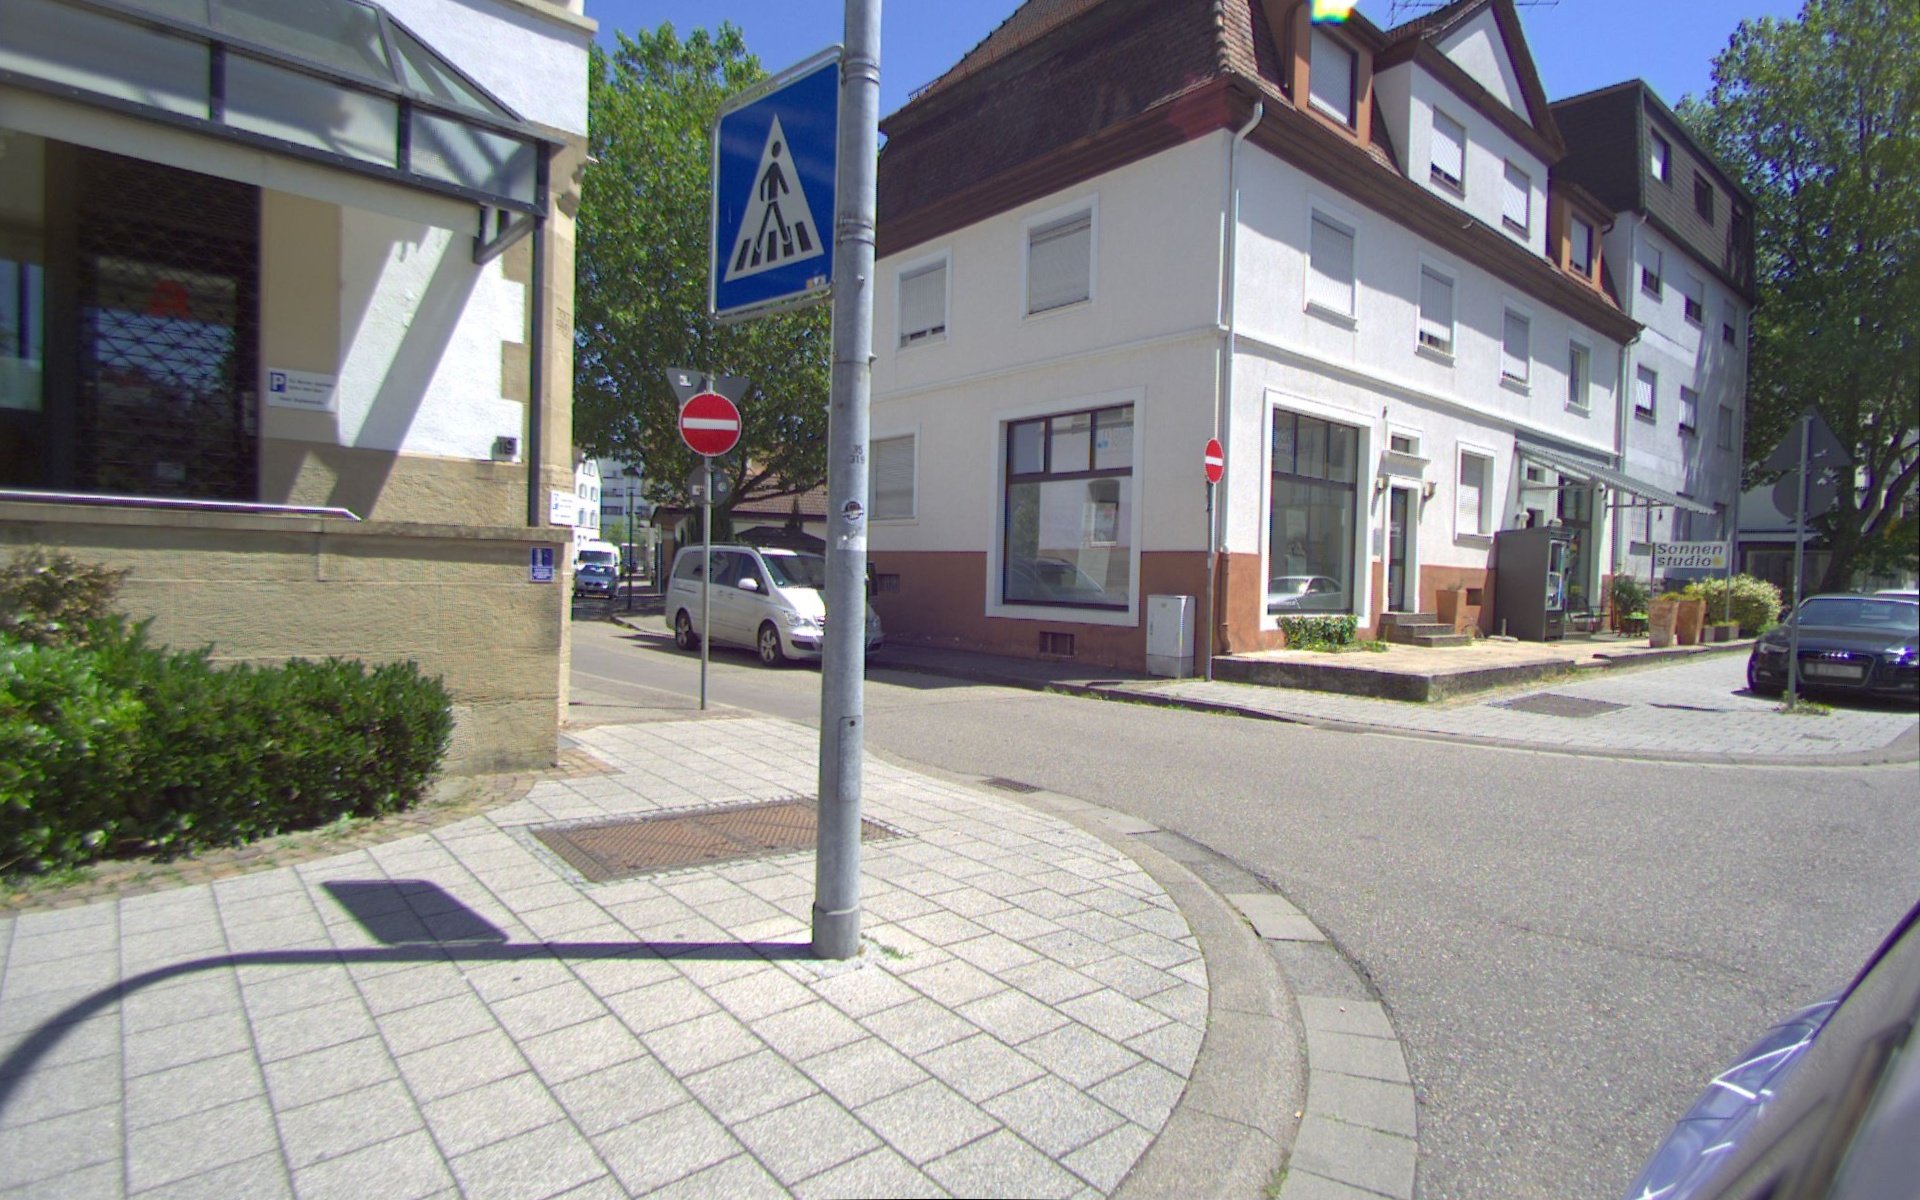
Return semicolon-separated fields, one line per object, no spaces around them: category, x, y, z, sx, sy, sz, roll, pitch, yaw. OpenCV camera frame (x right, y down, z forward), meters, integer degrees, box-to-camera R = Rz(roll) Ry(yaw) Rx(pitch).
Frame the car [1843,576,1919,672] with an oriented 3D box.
car;17.127;0.376;17.720;4.767;1.486;1.748;-1;5;-41

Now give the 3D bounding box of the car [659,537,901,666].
car;-3.234;-0.045;17.339;1.894;1.900;4.805;2;1;-40

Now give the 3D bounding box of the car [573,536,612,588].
car;-19.582;-2.016;53.916;1.847;2.638;4.638;1;2;-20

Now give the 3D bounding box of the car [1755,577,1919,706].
car;12.680;0.456;13.902;4.618;1.444;1.831;-1;4;-41

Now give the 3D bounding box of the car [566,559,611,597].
car;-16.064;-0.970;43.806;1.739;1.526;3.837;0;2;-20
